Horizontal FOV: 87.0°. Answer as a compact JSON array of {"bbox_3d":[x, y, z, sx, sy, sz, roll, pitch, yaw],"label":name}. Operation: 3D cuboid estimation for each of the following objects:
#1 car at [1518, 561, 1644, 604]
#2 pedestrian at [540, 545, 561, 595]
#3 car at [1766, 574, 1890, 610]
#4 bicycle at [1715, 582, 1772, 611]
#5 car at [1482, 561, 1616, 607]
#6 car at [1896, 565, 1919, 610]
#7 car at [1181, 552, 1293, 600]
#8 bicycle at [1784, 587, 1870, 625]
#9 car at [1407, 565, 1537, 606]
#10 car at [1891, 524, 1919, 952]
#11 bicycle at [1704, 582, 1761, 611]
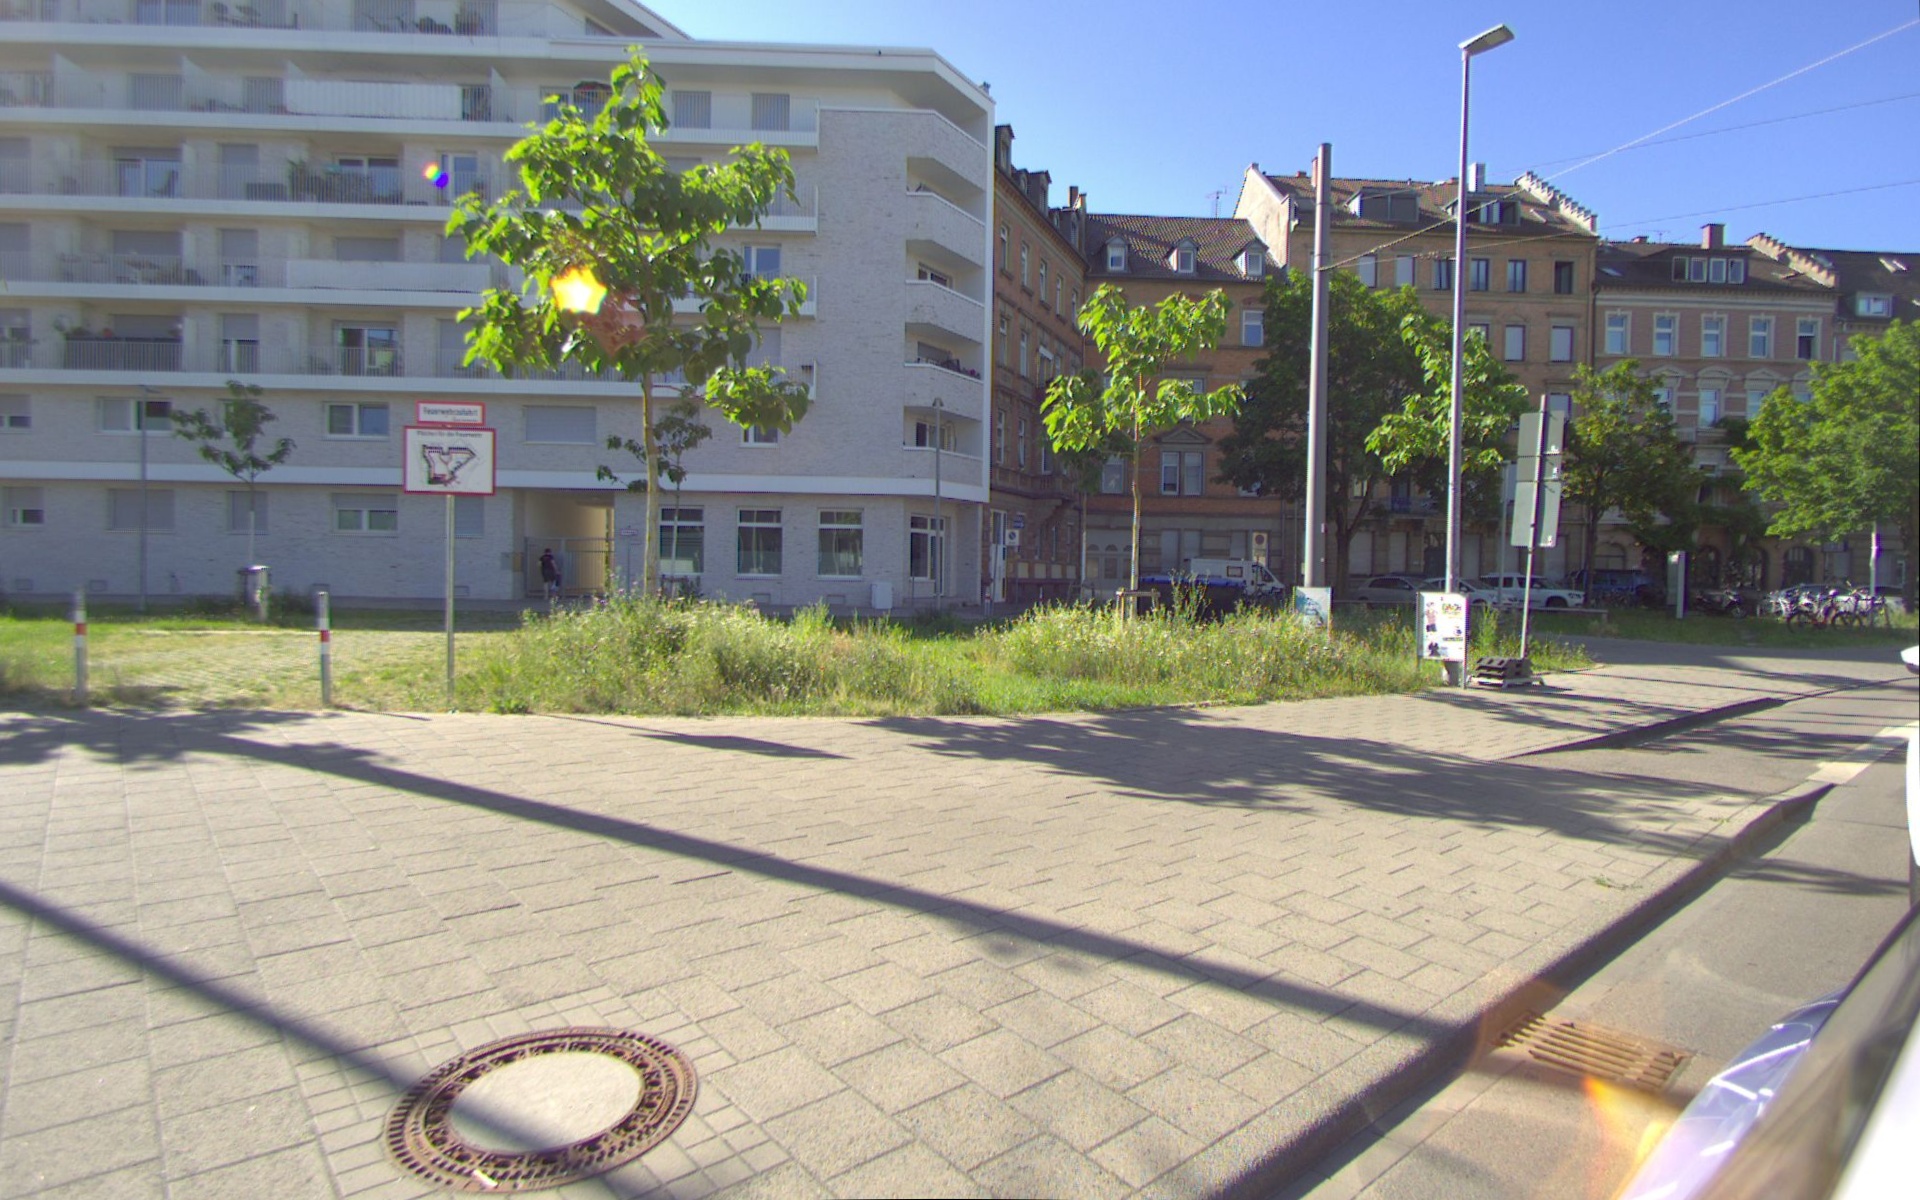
[{"bbox_3d":[25.474,-0.750,41.632,1.964,1.682,3.997,0,2,-38],"label":"car"},{"bbox_3d":[-14.097,-1.032,34.834,0.513,1.668,0.470,1,1,2],"label":"pedestrian"},{"bbox_3d":[34.258,-0.338,39.998,1.700,1.348,3.463,0,2,-38],"label":"car"},{"bbox_3d":[29.282,-0.138,37.865,0.442,1.037,1.766,0,1,-15],"label":"bicycle"},{"bbox_3d":[22.529,-0.643,38.831,1.964,1.682,3.997,0,2,-38],"label":"car"},{"bbox_3d":[40.486,-0.465,40.097,1.700,1.793,4.791,0,2,-38],"label":"car"},{"bbox_3d":[12.750,-1.107,46.734,4.553,2.139,2.001,1,1,-1],"label":"car"},{"bbox_3d":[24.784,0.168,28.963,1.742,1.037,0.564,1,1,23],"label":"bicycle"},{"bbox_3d":[19.590,-0.580,38.820,1.964,1.482,3.997,0,2,-38],"label":"car"},{"bbox_3d":[5.875,0.542,4.644,4.262,1.650,1.872,0,2,-41],"label":"car"},{"bbox_3d":[28.476,-0.143,37.336,0.442,1.037,1.766,0,1,-15],"label":"bicycle"}]
